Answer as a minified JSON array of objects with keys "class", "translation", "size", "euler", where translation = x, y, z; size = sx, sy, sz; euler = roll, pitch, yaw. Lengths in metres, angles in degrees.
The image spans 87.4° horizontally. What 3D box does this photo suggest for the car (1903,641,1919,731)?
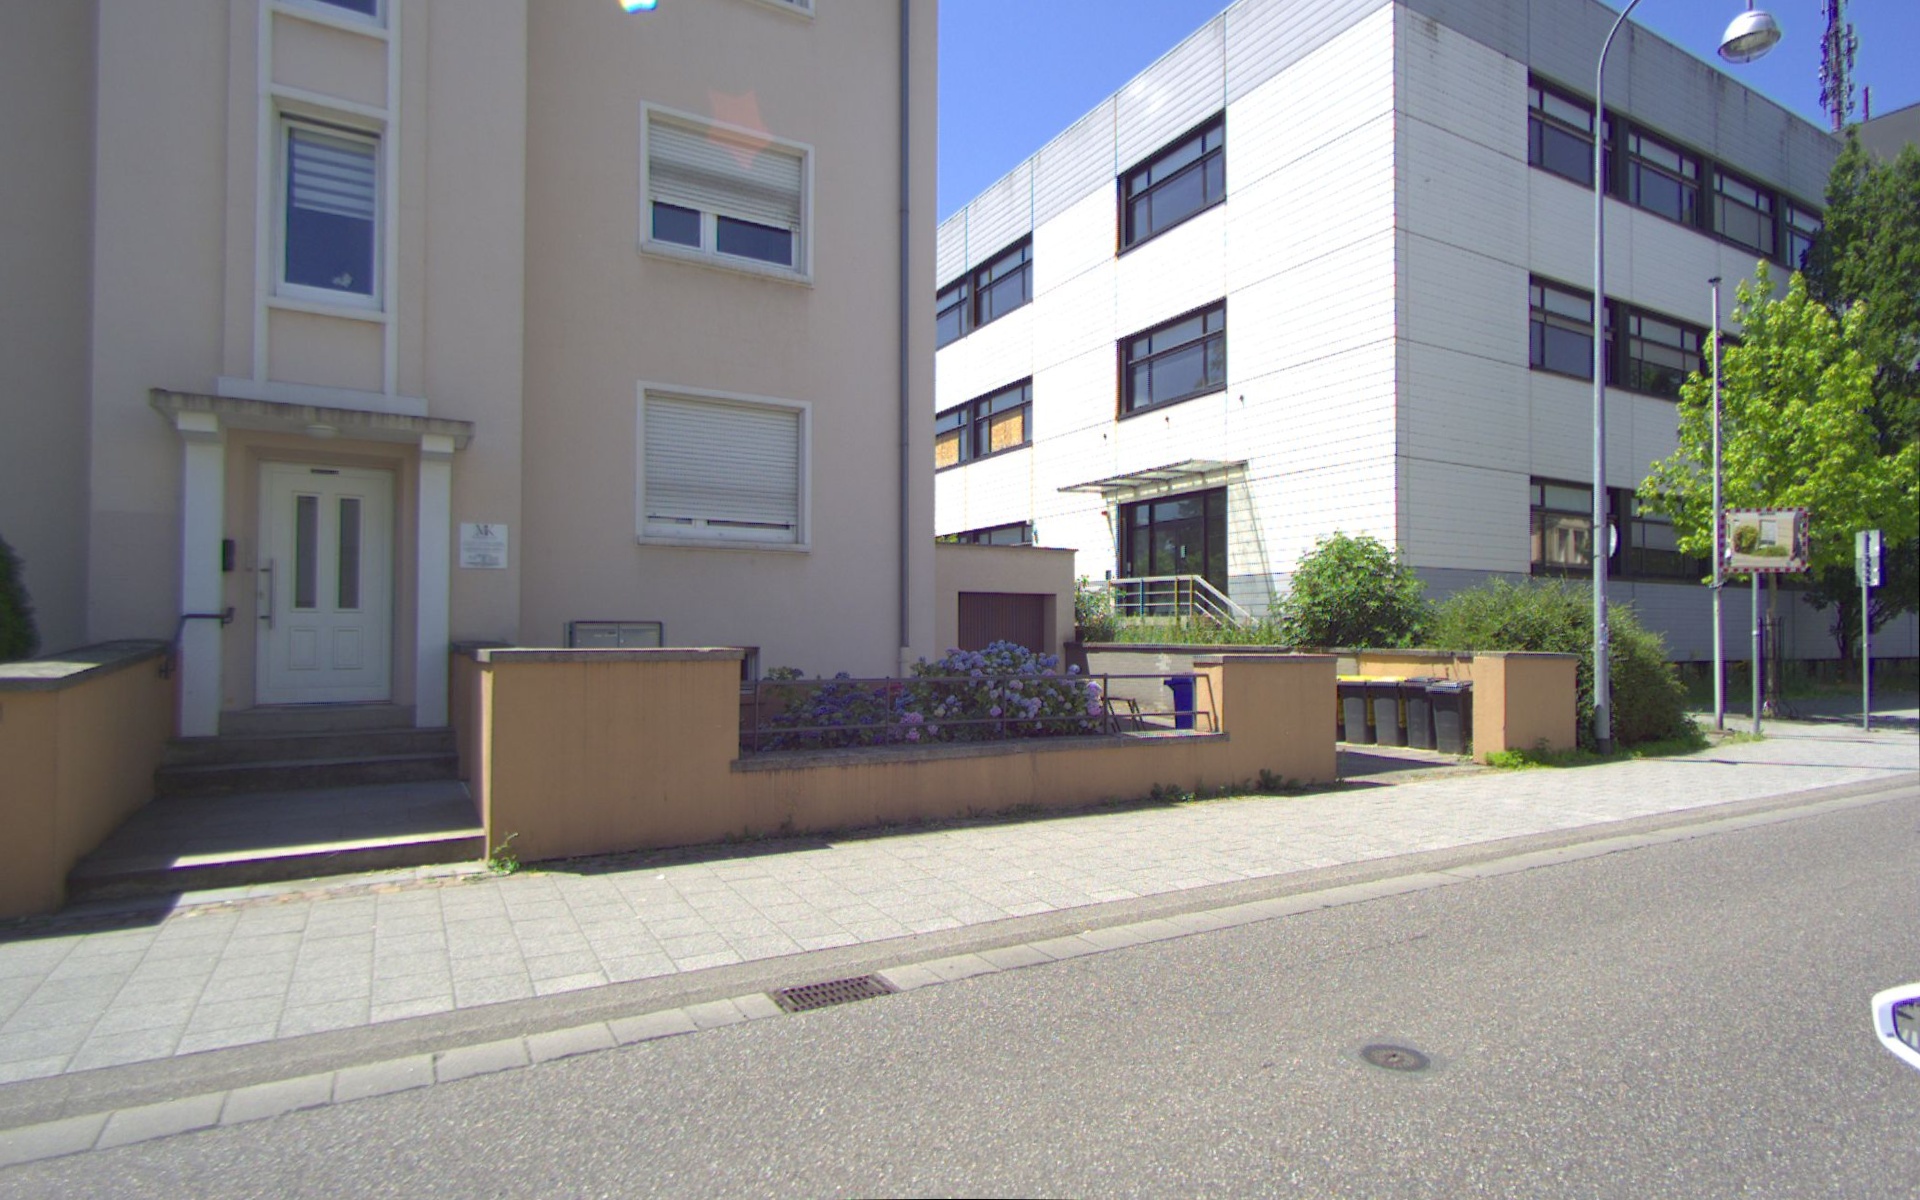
[{"class":"car","translation":[17.621,1.430,16.561],"size":[4.523,1.430,1.814],"euler":[2,-1,-30]}]
